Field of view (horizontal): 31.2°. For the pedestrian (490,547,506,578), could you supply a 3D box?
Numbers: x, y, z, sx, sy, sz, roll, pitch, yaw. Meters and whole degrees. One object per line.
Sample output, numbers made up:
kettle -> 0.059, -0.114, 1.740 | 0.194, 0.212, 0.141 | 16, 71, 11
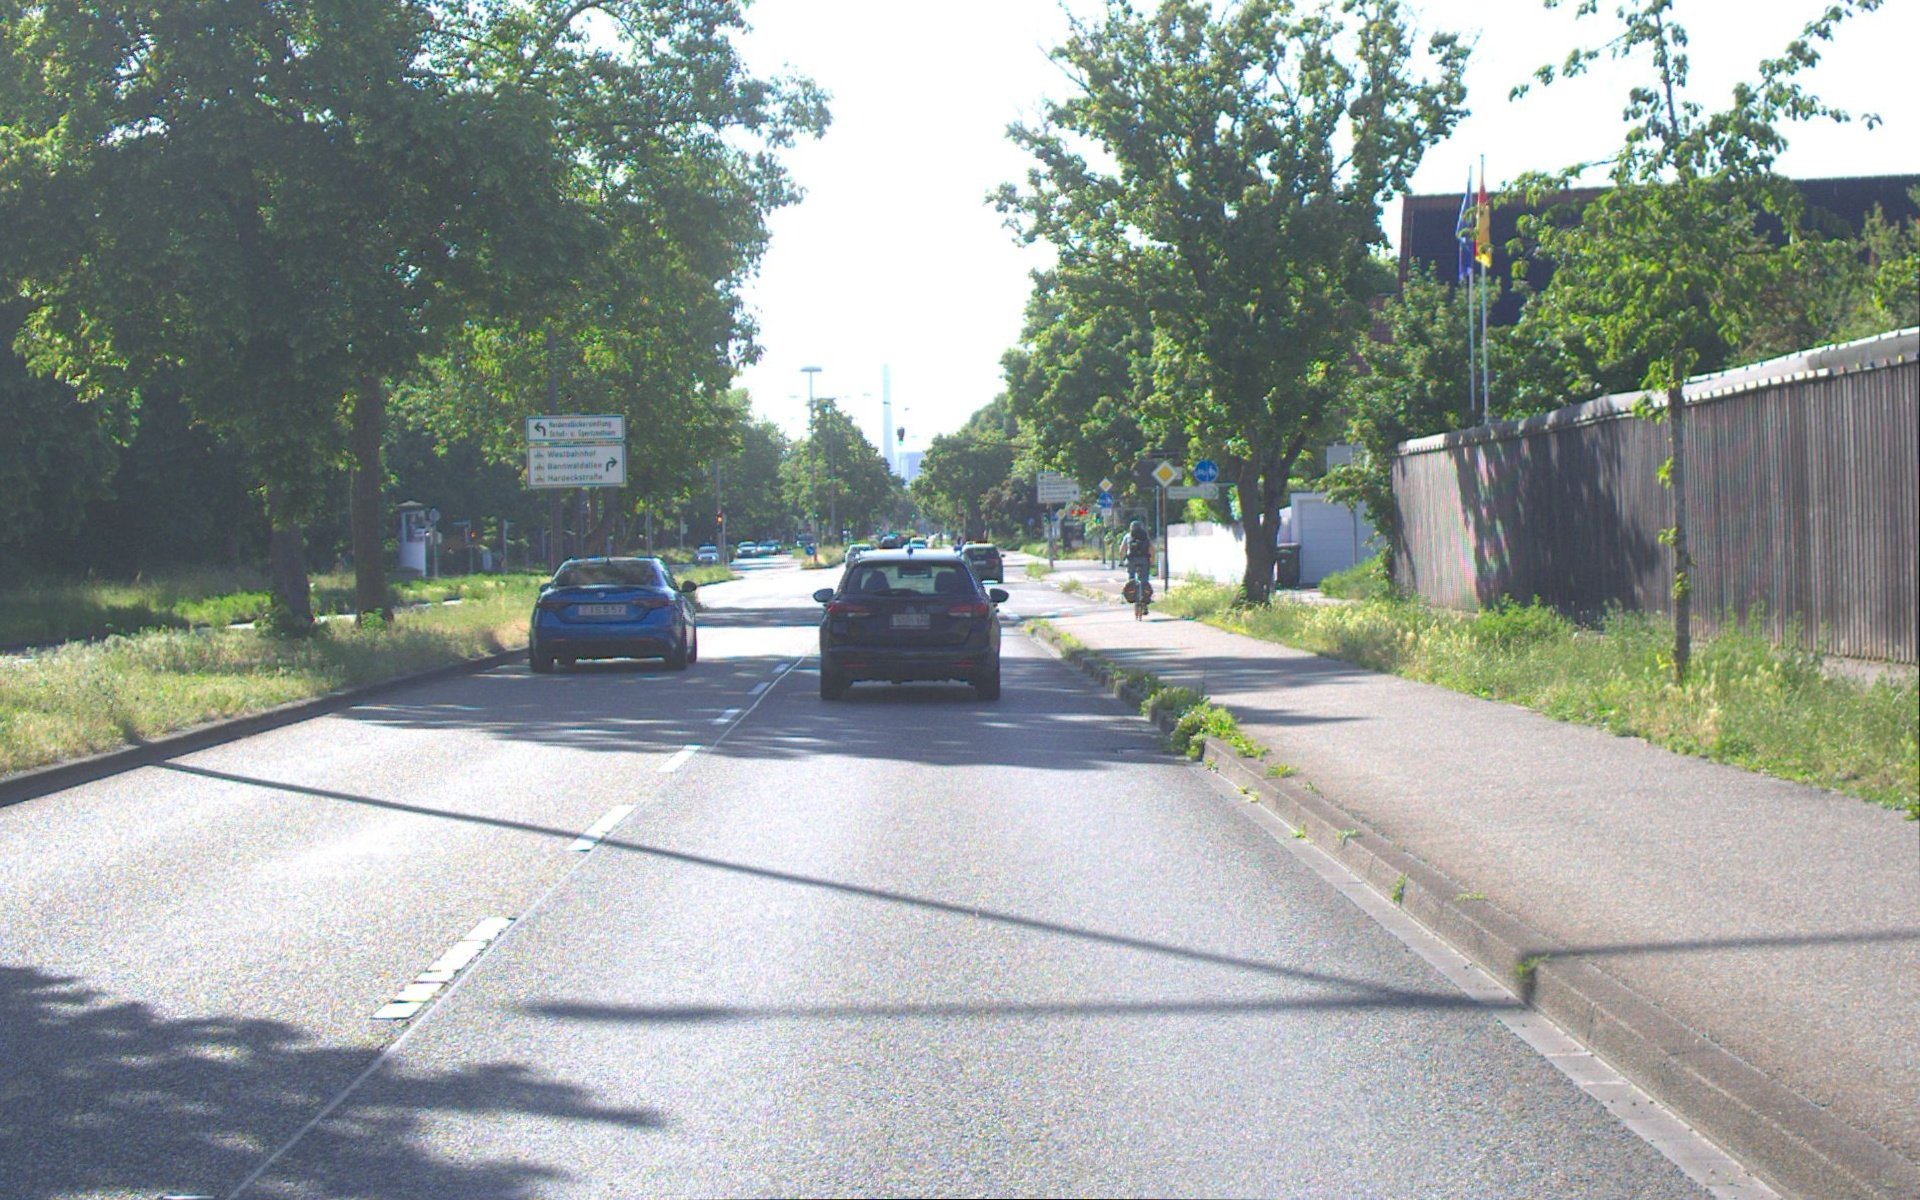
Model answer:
pedestrian -> -27.865, -2.268, 207.230 | 0.846, 1.829, 0.549 | -1, 1, 0

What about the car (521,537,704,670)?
car -> -4.290, 0.021, 42.987 | 1.888, 1.547, 4.000 | -1, 0, -1

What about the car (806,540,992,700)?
car -> -0.601, 0.171, 34.485 | 1.755, 1.504, 3.809 | 0, 0, -1

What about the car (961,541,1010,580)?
car -> 0.989, -1.516, 132.695 | 1.732, 1.454, 3.840 | -1, 1, 3

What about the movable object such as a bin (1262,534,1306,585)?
movable object such as a bin -> 8.096, -1.010, 85.843 | 1.002, 1.201, 1.062 | -3, 0, 7

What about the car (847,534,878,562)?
car -> -5.965, -3.210, 210.855 | 1.824, 1.609, 3.841 | -2, 2, -1

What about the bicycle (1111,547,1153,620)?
bicycle -> 2.943, -0.295, 58.637 | 0.574, 1.151, 2.140 | -4, 1, 4

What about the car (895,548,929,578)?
car -> -2.563, -1.962, 183.377 | 1.732, 1.579, 3.840 | 1, 0, -1

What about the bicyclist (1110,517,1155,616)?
bicyclist -> 2.947, -0.576, 58.608 | 0.630, 1.627, 0.982 | -4, 1, 4

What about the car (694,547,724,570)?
car -> -18.650, -3.075, 255.844 | 1.912, 1.697, 4.408 | 1, 0, 0
